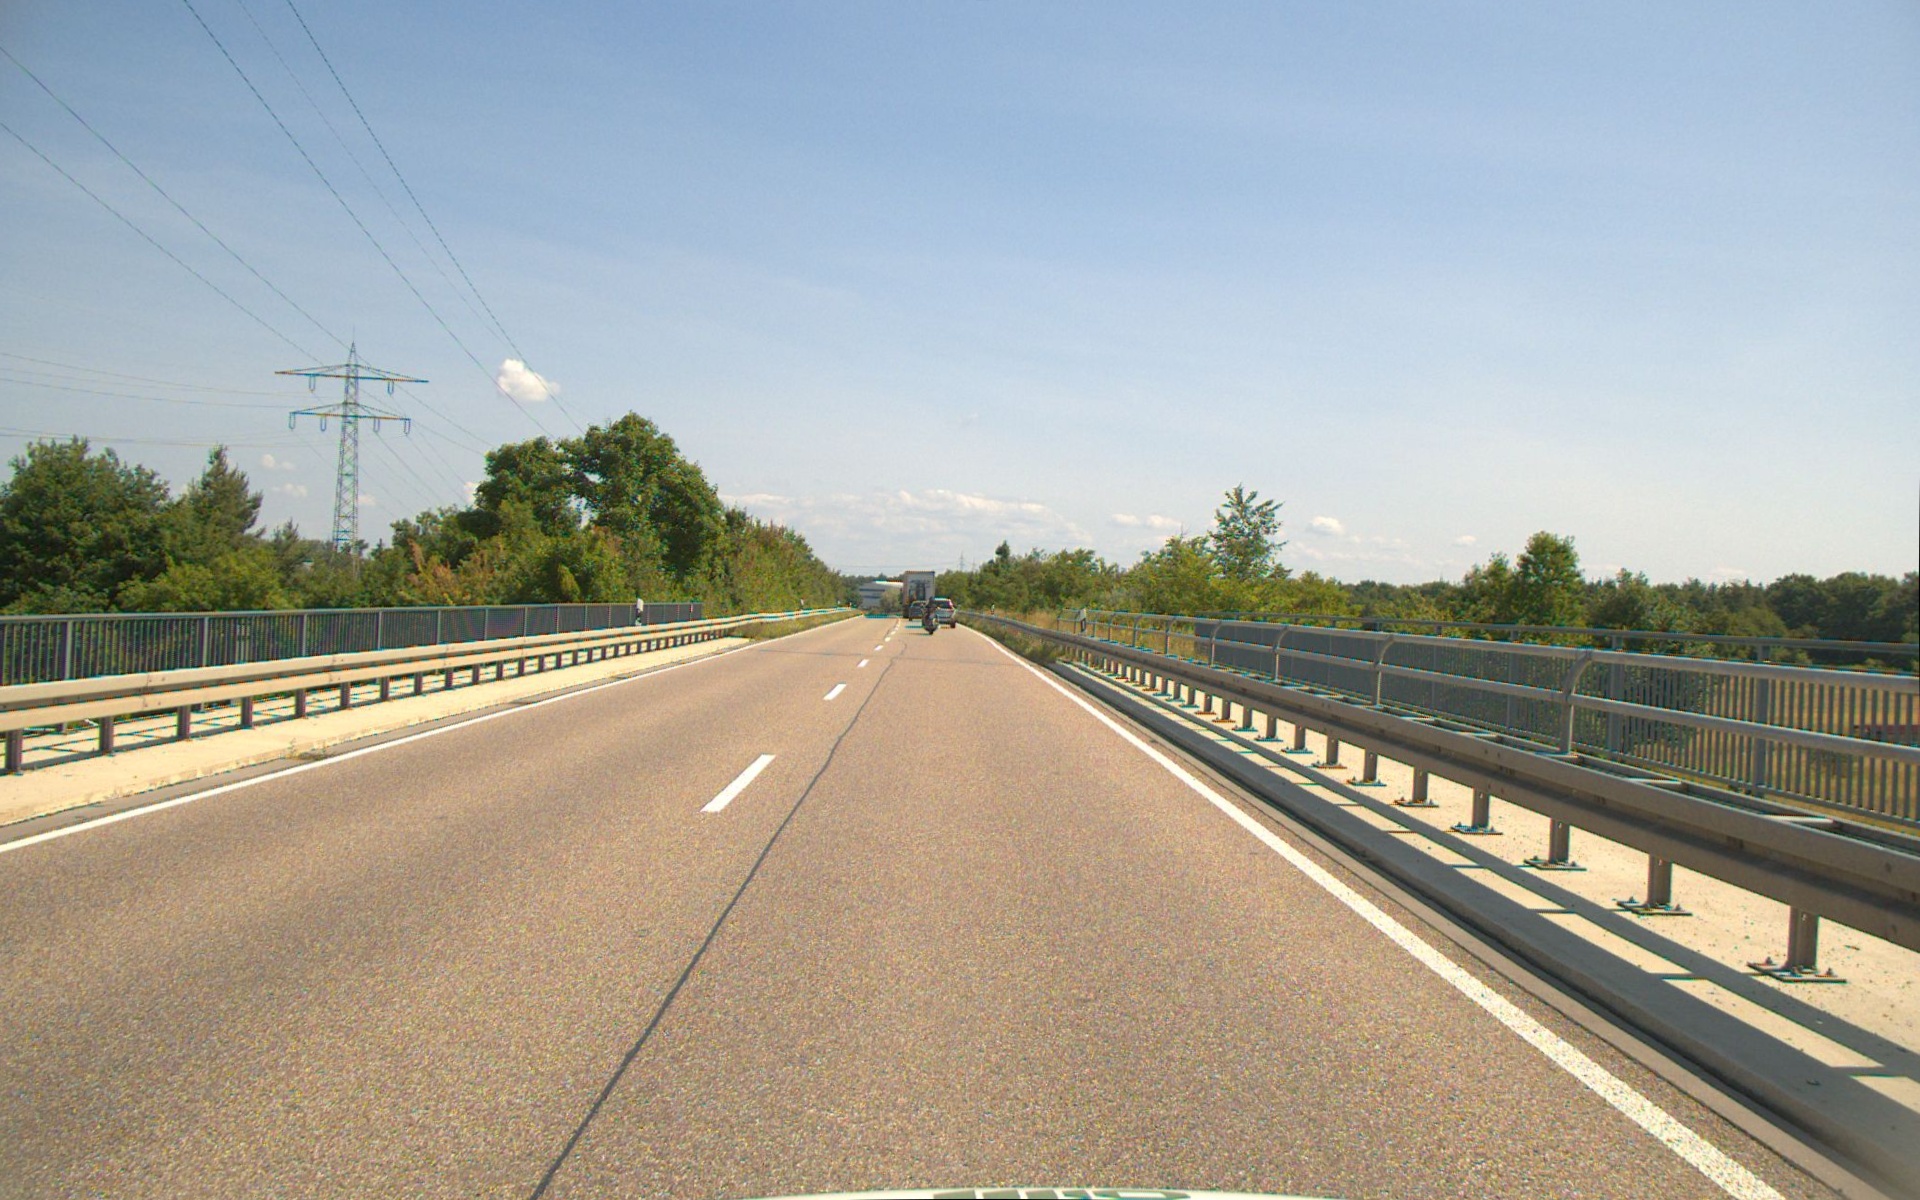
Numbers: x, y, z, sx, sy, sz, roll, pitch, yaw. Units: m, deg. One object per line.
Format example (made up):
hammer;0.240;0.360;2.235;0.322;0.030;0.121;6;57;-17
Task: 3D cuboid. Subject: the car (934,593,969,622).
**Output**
car;-0.466;0.395;90.176;1.788;1.477;3.999;1;1;-1

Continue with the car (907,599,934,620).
car;-2.854;0.677;120.611;1.827;1.445;4.000;2;0;1

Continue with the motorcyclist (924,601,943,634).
motorcyclist;-1.126;0.723;69.946;0.764;1.349;0.813;1;0;1

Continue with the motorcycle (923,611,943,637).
motorcycle;-1.143;1.009;69.927;0.764;0.992;2.362;1;1;1

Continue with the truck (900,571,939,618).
truck;-3.667;-0.491;147.821;3.177;4.048;9.438;1;0;-3
